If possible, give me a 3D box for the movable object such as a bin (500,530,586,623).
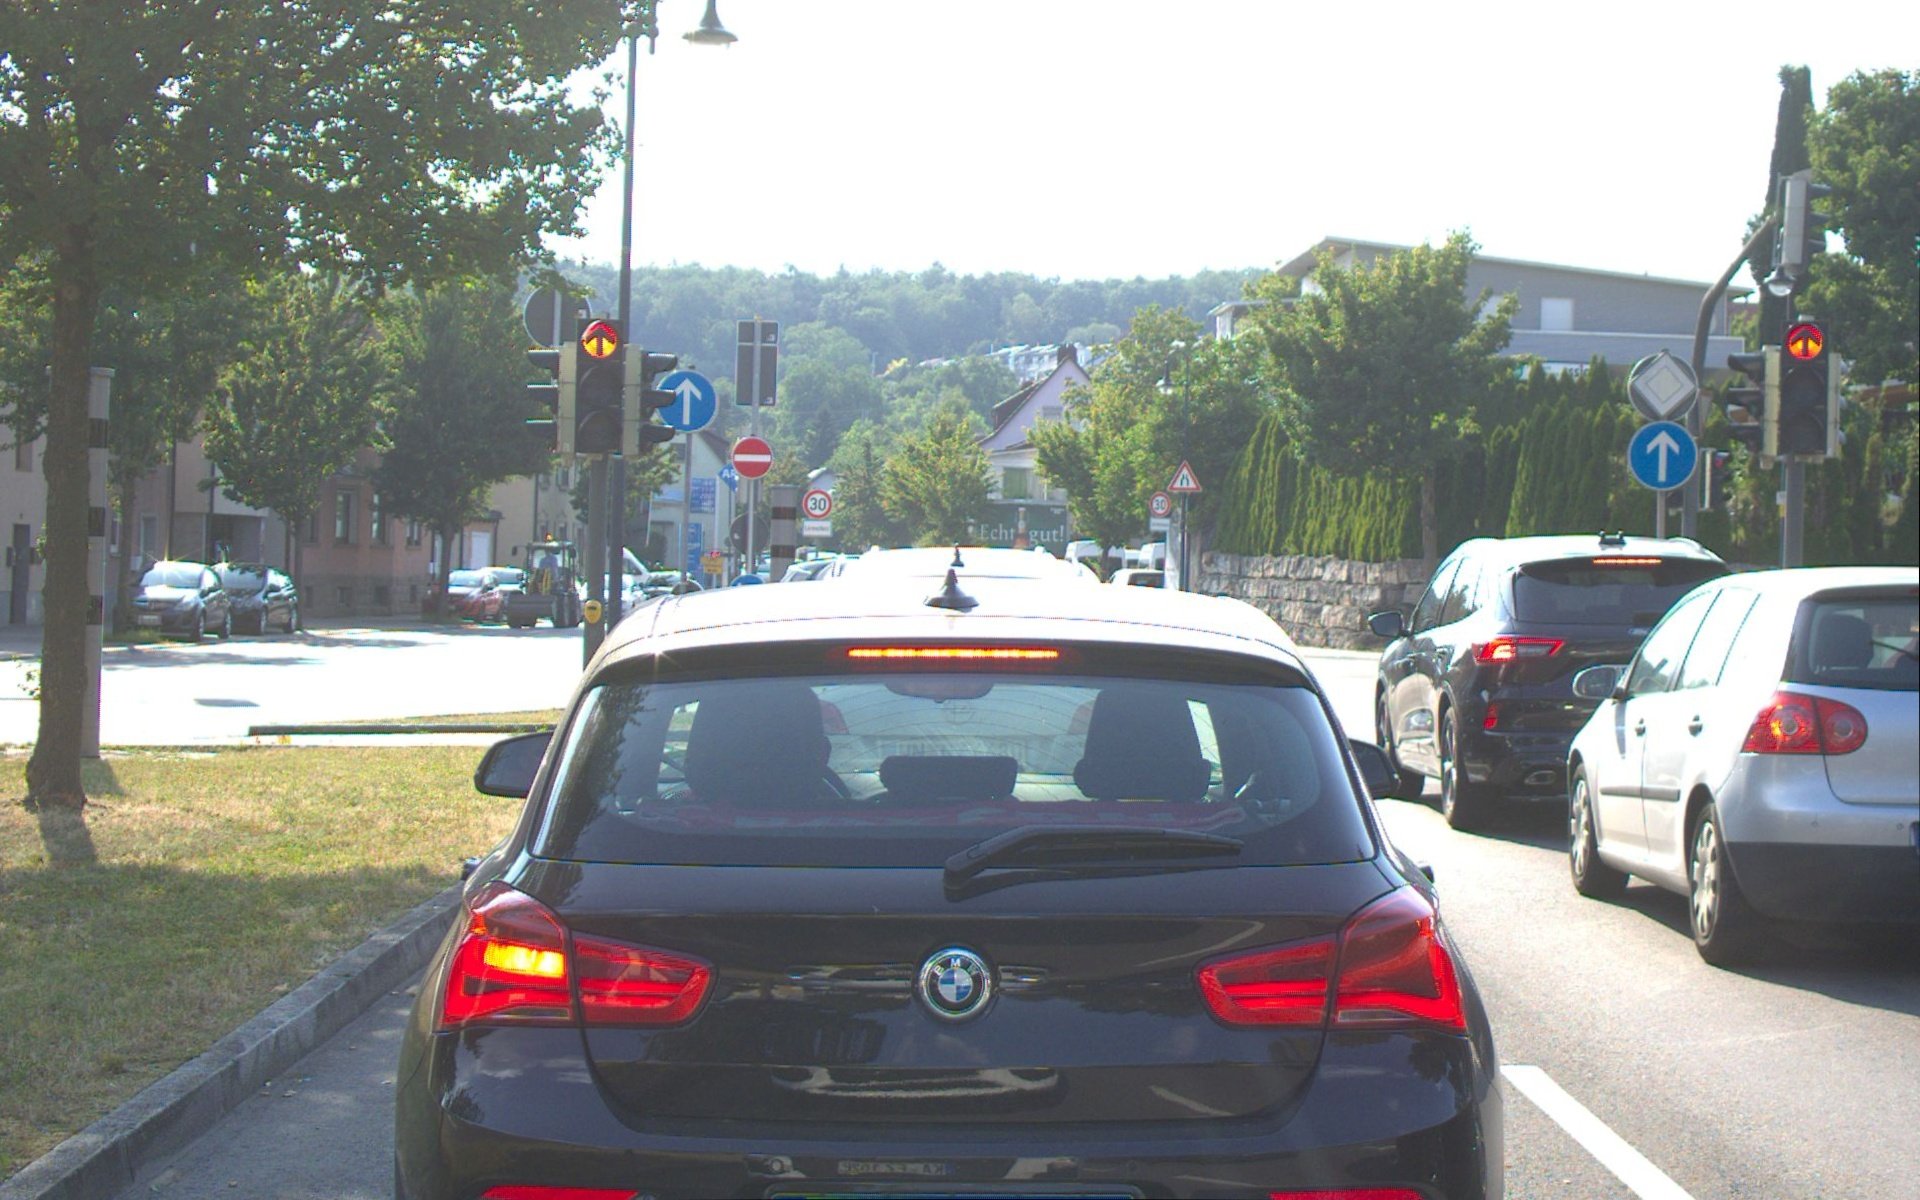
[{"bbox_3d":[-11.209,-0.638,92.601,1.736,2.433,4.450,0,1,0],"label":"movable object such as a bin"}]

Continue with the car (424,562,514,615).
[{"bbox_3d":[-13.858,-0.347,97.180,1.737,1.296,3.799,5,1,2],"label":"car"}]

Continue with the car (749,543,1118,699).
[{"bbox_3d":[-0.354,0.201,39.228,1.965,1.674,4.213,-1,1,-40],"label":"car"}]

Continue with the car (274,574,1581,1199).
[{"bbox_3d":[-0.038,0.677,6.873,1.788,1.393,4.281,-1,1,0],"label":"car"}]

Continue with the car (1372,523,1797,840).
[{"bbox_3d":[3.528,0.397,20.080,1.761,1.650,3.903,-1,1,0],"label":"car"}]

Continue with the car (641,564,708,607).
[{"bbox_3d":[-9.846,-0.510,118.905,1.737,1.296,3.799,5,1,2],"label":"car"}]

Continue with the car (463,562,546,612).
[{"bbox_3d":[-13.600,-0.404,102.878,1.737,1.296,3.799,5,1,2],"label":"car"}]

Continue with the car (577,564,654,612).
[{"bbox_3d":[-10.465,-0.376,104.655,1.737,1.296,3.799,5,1,2],"label":"car"}]

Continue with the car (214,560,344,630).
[{"bbox_3d":[-14.516,-0.120,73.443,1.737,1.296,4.000,5,1,2],"label":"car"}]

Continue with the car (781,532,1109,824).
[{"bbox_3d":[-0.081,0.392,21.058,1.788,1.588,4.281,-1,1,0],"label":"car"}]

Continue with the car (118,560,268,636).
[{"bbox_3d":[-14.938,-0.063,67.167,1.737,1.296,4.000,5,1,3],"label":"car"}]

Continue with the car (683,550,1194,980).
[{"bbox_3d":[-0.074,0.552,14.283,1.788,1.488,4.281,-1,1,0],"label":"car"}]

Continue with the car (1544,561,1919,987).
[{"bbox_3d":[3.555,0.575,13.756,1.761,1.421,3.903,-1,1,0],"label":"car"}]
